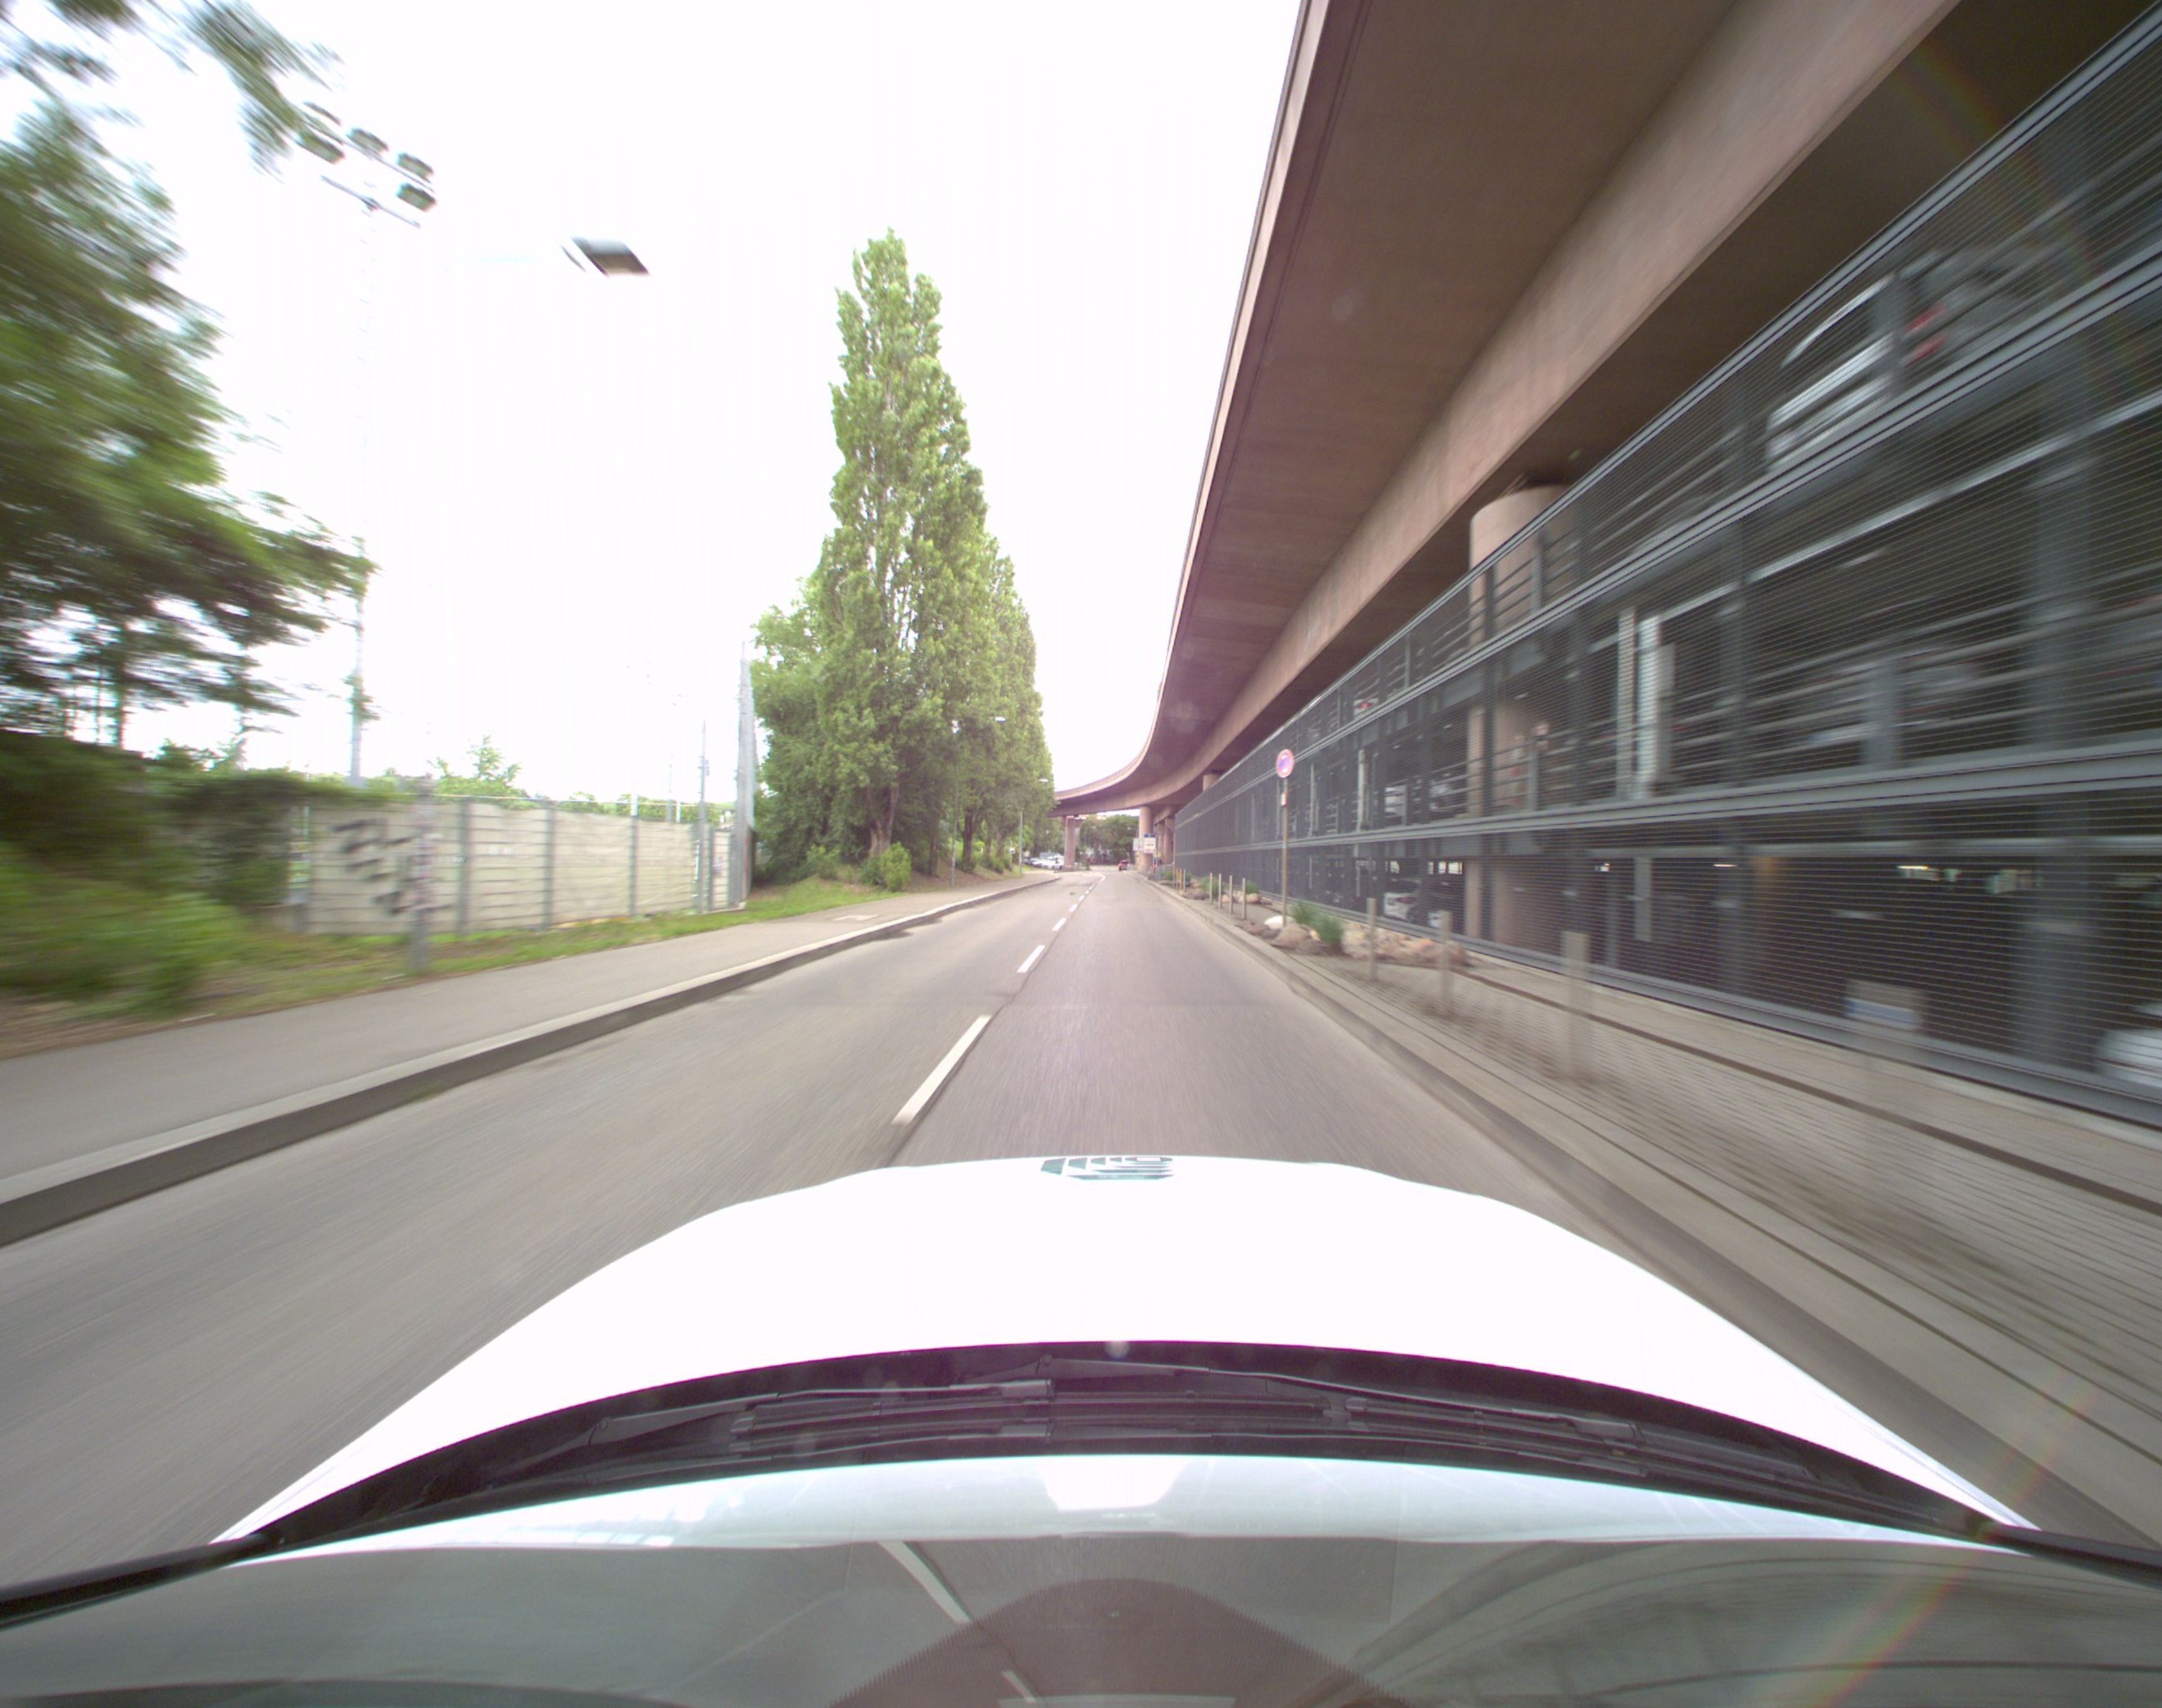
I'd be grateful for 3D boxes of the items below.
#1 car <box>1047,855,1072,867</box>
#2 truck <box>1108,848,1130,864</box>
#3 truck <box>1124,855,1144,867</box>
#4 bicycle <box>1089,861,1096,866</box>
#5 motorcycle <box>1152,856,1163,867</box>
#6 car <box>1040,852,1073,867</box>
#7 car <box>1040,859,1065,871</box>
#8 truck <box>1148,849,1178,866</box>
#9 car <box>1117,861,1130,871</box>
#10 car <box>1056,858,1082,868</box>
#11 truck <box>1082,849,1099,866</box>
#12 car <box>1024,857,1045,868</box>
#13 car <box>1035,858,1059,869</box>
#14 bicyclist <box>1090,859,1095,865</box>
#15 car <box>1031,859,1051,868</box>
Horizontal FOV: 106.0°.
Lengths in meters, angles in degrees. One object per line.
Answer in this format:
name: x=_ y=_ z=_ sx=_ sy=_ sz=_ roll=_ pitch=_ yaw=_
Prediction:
car: x=-4.158 y=1.355 z=159.444 sx=4.527 sy=2.111 sz=1.856 roll=2 pitch=0 yaw=11
truck: x=9.718 y=0.422 z=208.284 sx=3.074 sy=3.867 sz=7.999 roll=0 pitch=1 yaw=-18
truck: x=13.616 y=1.767 z=209.378 sx=2.923 sy=2.898 sz=6.518 roll=0 pitch=1 yaw=-18
bicycle: x=2.765 y=2.334 z=194.421 sx=0.806 sy=1.097 sz=2.111 roll=0 pitch=-1 yaw=-28
motorcycle: x=10.102 y=0.985 z=108.193 sx=0.797 sy=1.366 sz=2.119 roll=0 pitch=0 yaw=-14
car: x=-4.856 y=1.156 z=162.589 sx=6.142 sy=2.725 sz=2.373 roll=2 pitch=0 yaw=7
car: x=-4.563 y=1.735 z=129.314 sx=1.976 sy=1.480 sz=4.853 roll=4 pitch=-1 yaw=23
truck: x=19.547 y=0.771 z=194.285 sx=2.899 sy=3.480 sz=8.297 roll=4 pitch=4 yaw=40
car: x=7.150 y=2.051 z=136.703 sx=1.986 sy=1.679 sz=4.562 roll=1 pitch=-1 yaw=2
car: x=-2.257 y=1.728 z=153.789 sx=4.348 sy=1.606 sz=1.962 roll=3 pitch=0 yaw=15
truck: x=2.625 y=0.889 z=232.715 sx=3.207 sy=4.779 sz=8.013 roll=0 pitch=1 yaw=-13
car: x=-7.939 y=1.464 z=139.830 sx=1.840 sy=1.691 sz=4.188 roll=1 pitch=-1 yaw=26
car: x=-5.528 y=1.583 z=133.228 sx=1.976 sy=1.583 sz=4.424 roll=5 pitch=0 yaw=24
bicyclist: x=2.734 y=1.918 z=194.471 sx=0.800 sy=1.405 sz=1.056 roll=0 pitch=-1 yaw=-29
car: x=-6.717 y=1.555 z=136.787 sx=1.770 sy=1.454 sz=3.768 roll=1 pitch=-1 yaw=26
